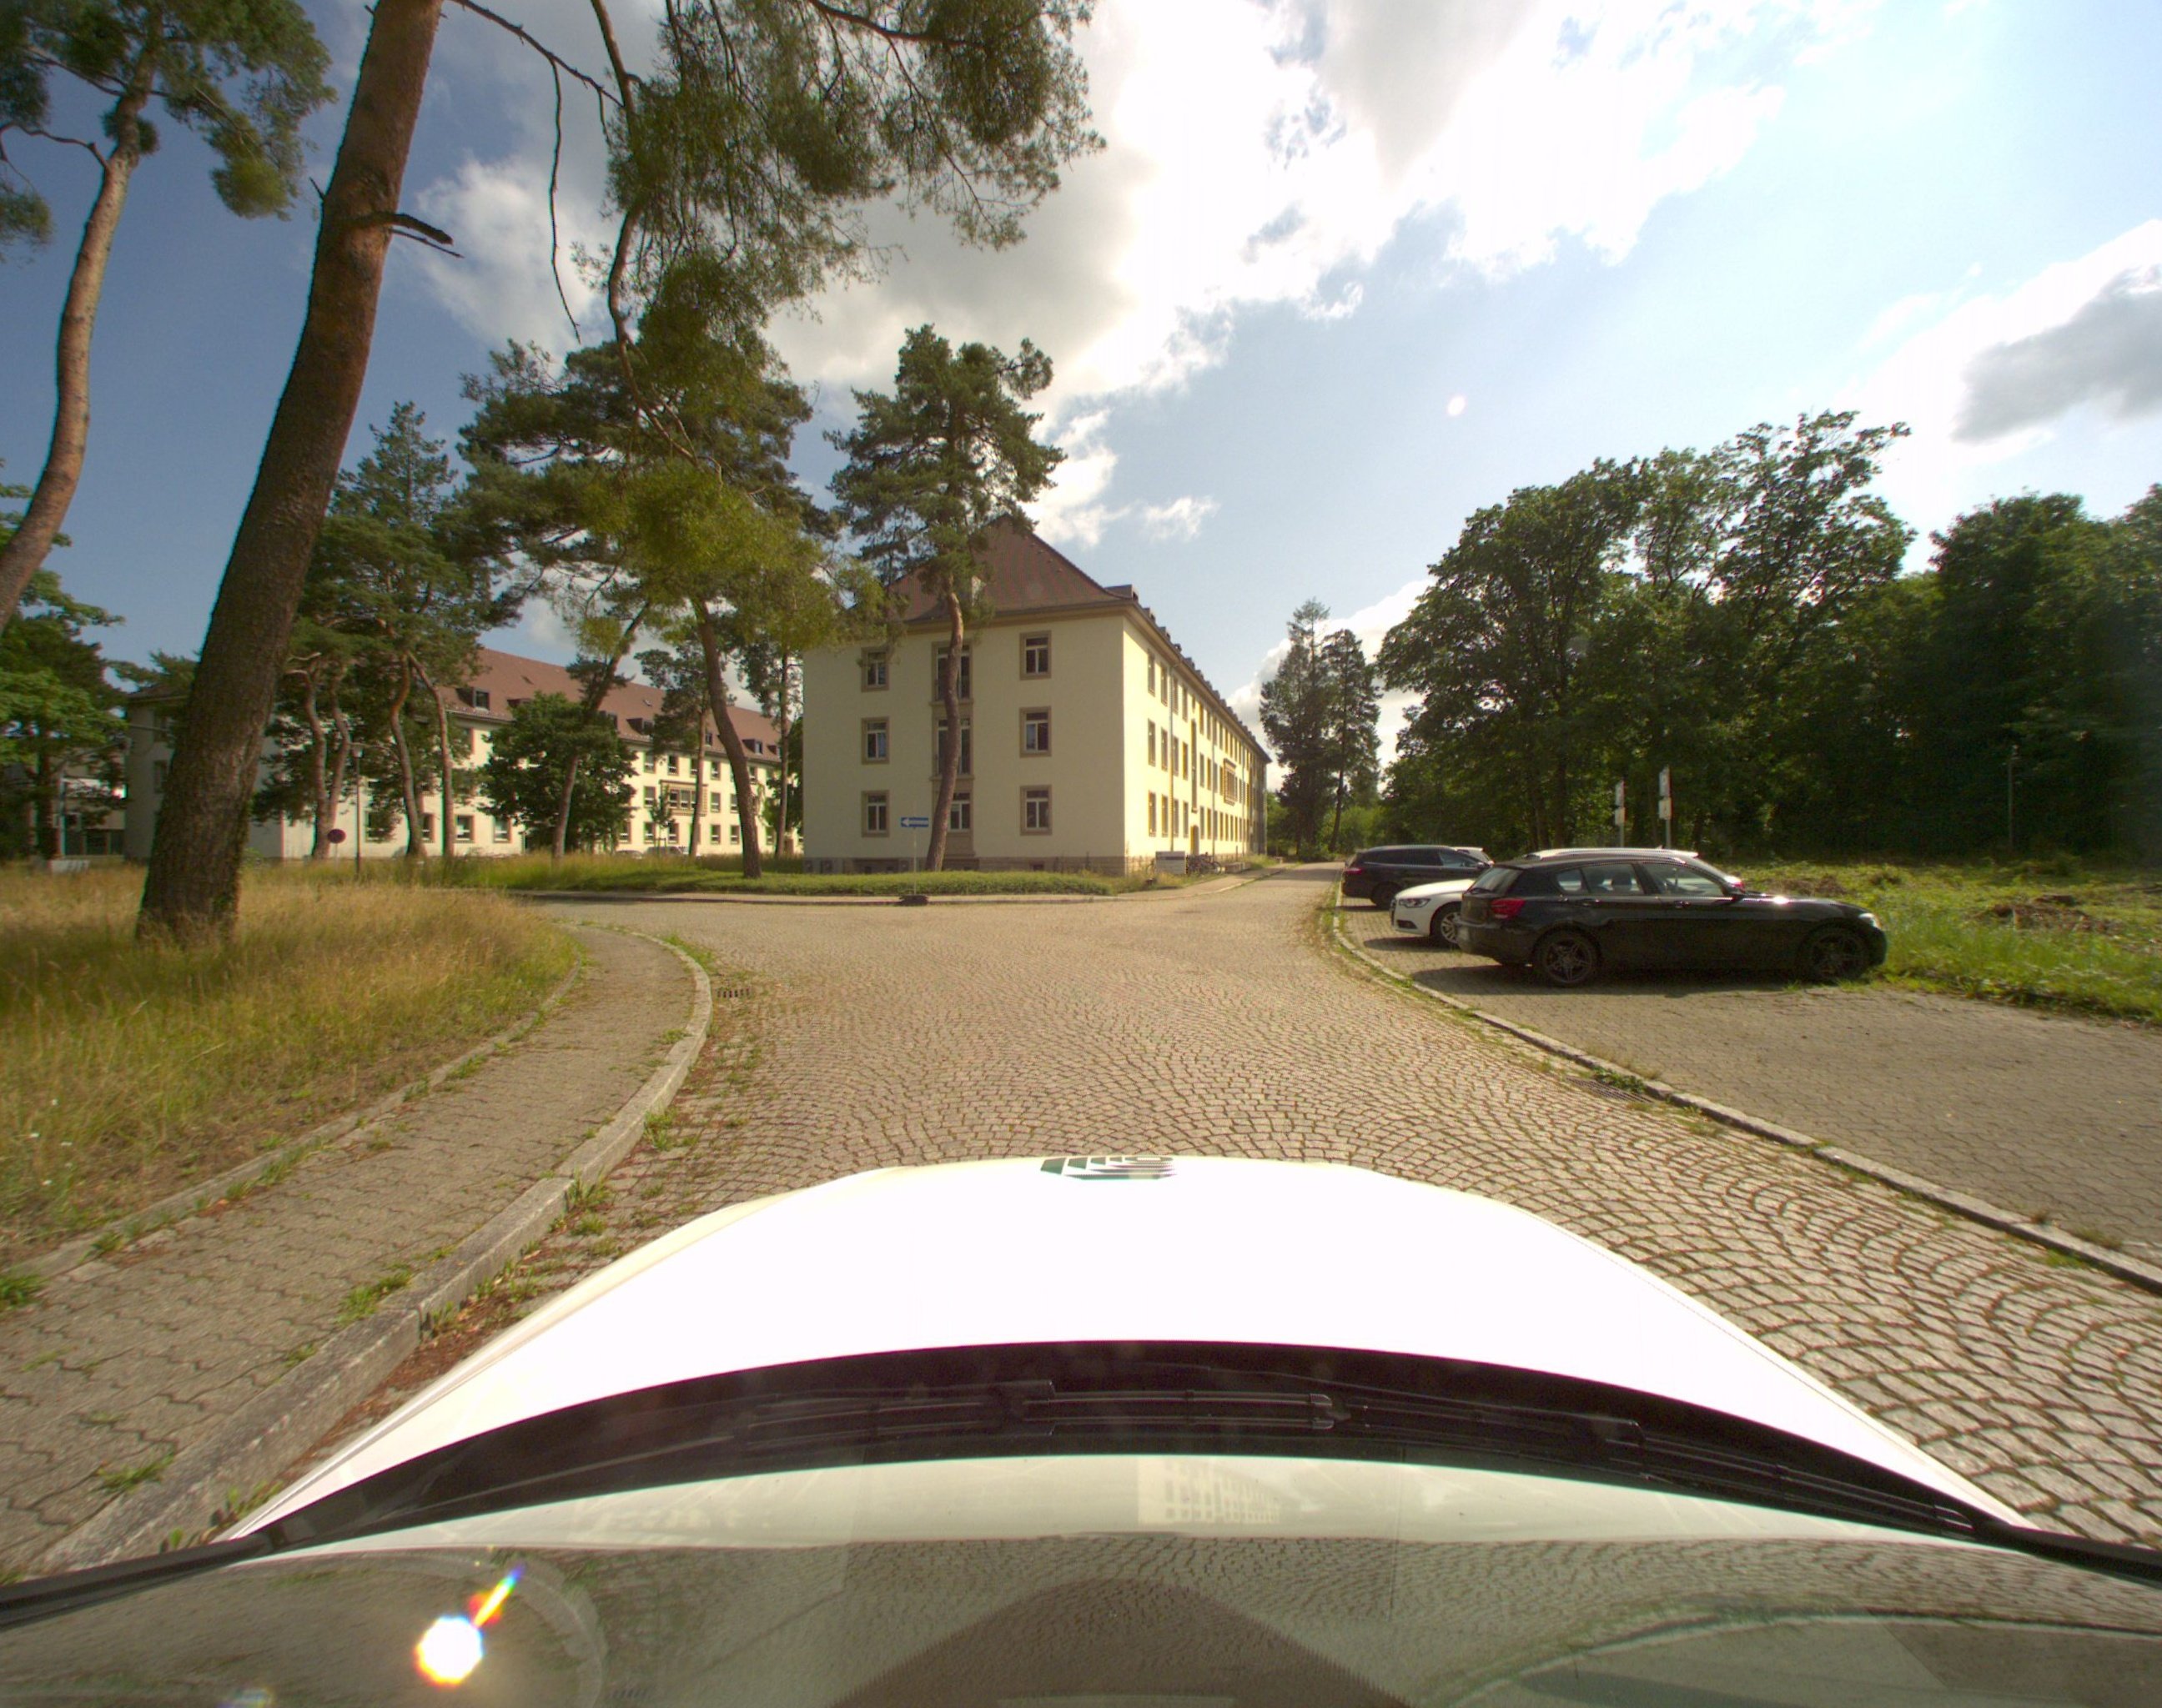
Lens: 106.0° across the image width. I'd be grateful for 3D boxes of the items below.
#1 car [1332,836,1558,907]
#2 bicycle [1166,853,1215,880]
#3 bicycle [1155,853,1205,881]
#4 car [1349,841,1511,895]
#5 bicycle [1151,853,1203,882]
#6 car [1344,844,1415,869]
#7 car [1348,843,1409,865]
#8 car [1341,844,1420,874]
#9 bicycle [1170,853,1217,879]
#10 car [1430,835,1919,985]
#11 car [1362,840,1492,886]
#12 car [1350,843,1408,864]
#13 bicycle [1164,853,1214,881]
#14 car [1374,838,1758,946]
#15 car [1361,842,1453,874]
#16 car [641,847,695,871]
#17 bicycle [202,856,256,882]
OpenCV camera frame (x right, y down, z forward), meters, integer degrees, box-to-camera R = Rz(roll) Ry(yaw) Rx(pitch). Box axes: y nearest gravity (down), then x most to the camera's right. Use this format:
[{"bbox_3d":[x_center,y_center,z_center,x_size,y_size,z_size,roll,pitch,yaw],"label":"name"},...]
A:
[{"bbox_3d":[8.739,0.437,20.020,4.816,1.552,1.888,-2,-1,16],"label":"car"},{"bbox_3d":[5.249,0.594,39.046,2.203,1.260,0.626,-1,0,20],"label":"bicycle"},{"bbox_3d":[4.544,0.607,37.379,2.203,1.260,0.626,-1,0,20],"label":"bicycle"},{"bbox_3d":[10.589,0.434,25.071,4.365,1.484,1.773,-2,-1,16],"label":"car"},{"bbox_3d":[4.319,0.617,36.544,2.202,1.260,0.626,-1,0,24],"label":"bicycle"},{"bbox_3d":[19.158,0.155,52.392,4.152,1.484,1.829,-2,-1,19],"label":"car"},{"bbox_3d":[21.993,0.009,60.367,4.152,1.484,1.829,-2,-1,19],"label":"car"},{"bbox_3d":[17.228,0.291,47.008,4.152,1.543,1.829,-2,-1,19],"label":"car"},{"bbox_3d":[5.538,0.588,40.017,2.203,1.260,0.626,-1,0,20],"label":"bicycle"},{"bbox_3d":[6.647,0.605,9.603,4.301,1.500,1.834,-2,1,7],"label":"car"},{"bbox_3d":[12.417,0.343,29.490,4.173,1.484,1.829,-2,-1,19],"label":"car"},{"bbox_3d":[23.053,-0.009,63.075,4.152,1.484,1.829,-2,-1,19],"label":"car"},{"bbox_3d":[5.047,0.604,38.149,2.202,1.260,0.626,-1,0,24],"label":"bicycle"},{"bbox_3d":[7.234,0.583,12.763,4.825,1.472,1.882,-2,1,16],"label":"car"},{"bbox_3d":[16.537,0.204,41.542,4.231,1.484,1.829,-2,-1,19],"label":"car"},{"bbox_3d":[-34.798,0.408,68.627,4.026,1.991,1.721,-1,0,18],"label":"car"},{"bbox_3d":[-38.240,0.655,36.586,0.485,1.100,1.596,0,0,29],"label":"bicycle"}]
